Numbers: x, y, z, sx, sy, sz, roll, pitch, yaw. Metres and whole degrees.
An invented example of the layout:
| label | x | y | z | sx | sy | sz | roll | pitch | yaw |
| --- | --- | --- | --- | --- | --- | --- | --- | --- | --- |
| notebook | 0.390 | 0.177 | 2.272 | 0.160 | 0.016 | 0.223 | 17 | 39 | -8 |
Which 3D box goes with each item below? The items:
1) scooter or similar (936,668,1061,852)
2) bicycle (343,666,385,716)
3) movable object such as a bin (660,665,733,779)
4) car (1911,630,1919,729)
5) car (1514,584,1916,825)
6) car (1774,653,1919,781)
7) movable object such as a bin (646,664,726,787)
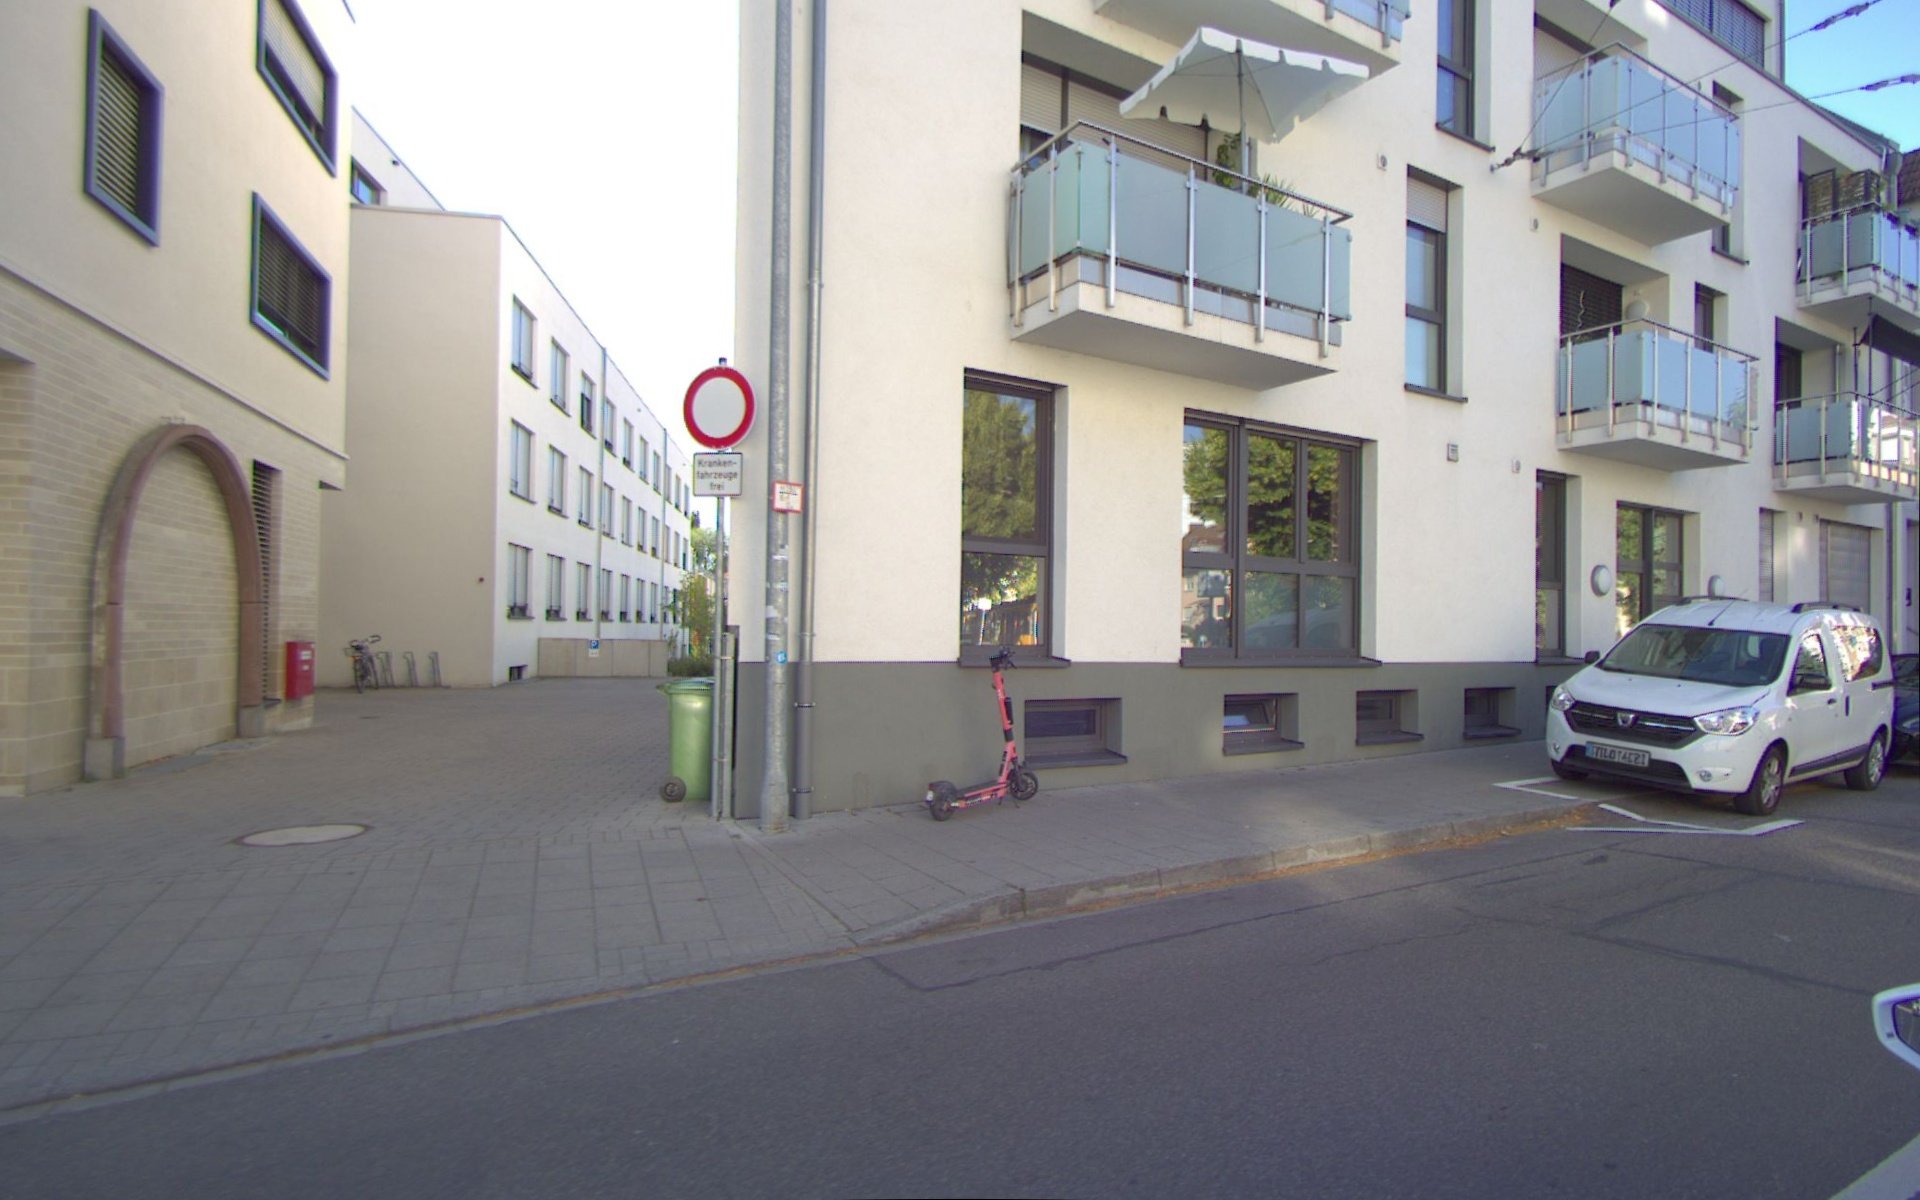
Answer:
| label | x | y | z | sx | sy | sz | roll | pitch | yaw |
| --- | --- | --- | --- | --- | --- | --- | --- | --- | --- |
| scooter or similar | 0.310 | 1.159 | 7.563 | 0.222 | 1.236 | 1.147 | 1 | 0 | 45 |
| bicycle | -12.579 | 1.910 | 21.232 | 0.397 | 0.917 | 1.698 | 2 | -1 | -19 |
| movable object such as a bin | -2.254 | 1.038 | 8.627 | 0.520 | 0.913 | 0.549 | 1 | -1 | -7 |
| car | 16.859 | 1.236 | 15.373 | 4.527 | 1.486 | 1.705 | 1 | 1 | -24 |
| car | 7.528 | 0.880 | 9.903 | 4.287 | 1.894 | 1.800 | 2 | 0 | -34 |
| car | 11.879 | 1.358 | 12.210 | 3.976 | 1.290 | 1.657 | 2 | 0 | -28 |
| movable object such as a bin | -2.187 | 0.993 | 8.061 | 0.520 | 0.913 | 0.549 | 1 | -1 | -7 |
